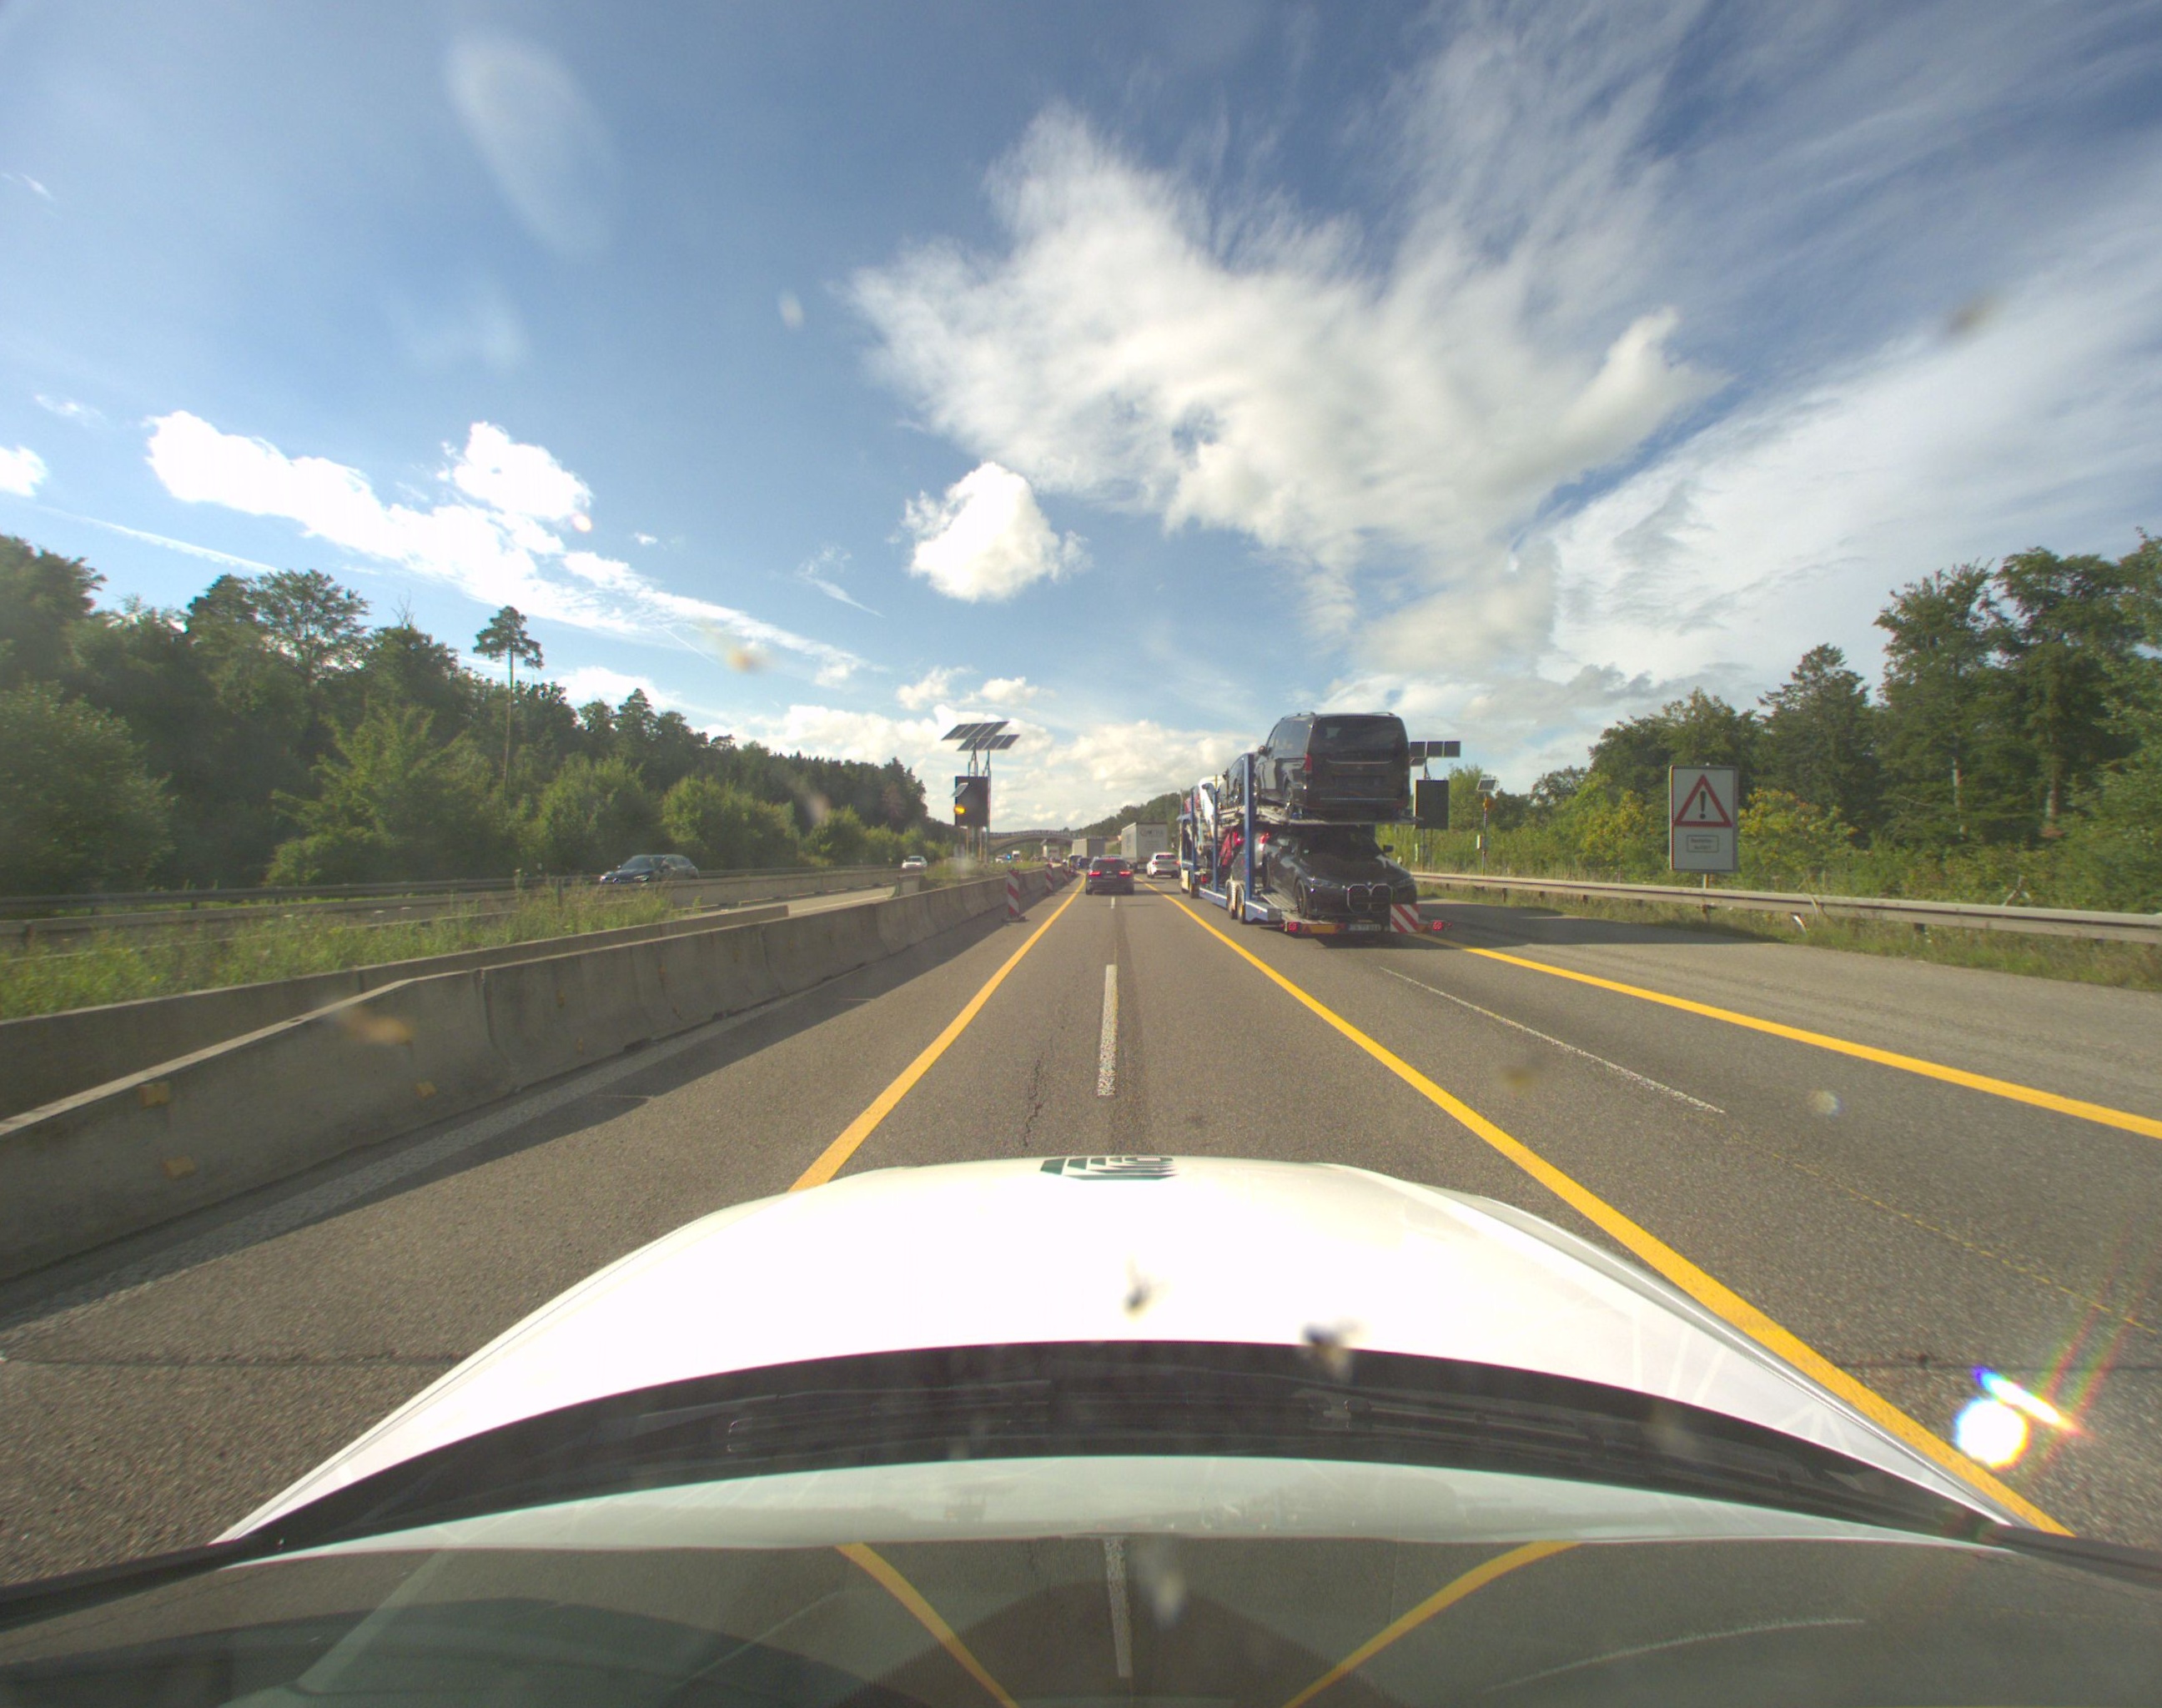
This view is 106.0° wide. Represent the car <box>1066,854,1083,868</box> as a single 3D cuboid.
[{"bbox_3d":[-0.811,0.852,102.404,1.887,1.643,4.012,0,0,-4],"label":"car"}]

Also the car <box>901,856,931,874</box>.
[{"bbox_3d":[-15.565,1.037,76.883,1.770,1.602,4.022,0,0,4],"label":"car"}]

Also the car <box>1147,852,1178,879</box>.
[{"bbox_3d":[5.225,0.709,52.725,1.882,1.643,4.022,0,0,4],"label":"car"}]

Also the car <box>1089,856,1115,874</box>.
[{"bbox_3d":[1.668,0.888,65.954,1.885,1.446,3.996,0,0,-2],"label":"car"}]

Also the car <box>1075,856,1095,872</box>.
[{"bbox_3d":[0.436,1.083,89.230,1.887,1.643,4.011,0,0,-5],"label":"car"}]

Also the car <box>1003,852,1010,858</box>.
[{"bbox_3d":[-23.415,0.451,256.701,1.775,1.866,3.998,0,0,-1],"label":"car"}]

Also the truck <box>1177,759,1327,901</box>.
[{"bbox_3d":[5.533,-0.689,28.138,3.747,4.196,7.954,0,0,2],"label":"truck"}]

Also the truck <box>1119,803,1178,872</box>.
[{"bbox_3d":[5.665,-1.271,71.899,3.666,5.353,16.195,0,0,-1],"label":"truck"}]

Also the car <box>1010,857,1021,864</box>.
[{"bbox_3d":[-15.009,1.523,187.645,1.961,1.602,4.947,0,0,1],"label":"car"}]

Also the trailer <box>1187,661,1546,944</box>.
[{"bbox_3d":[5.302,-0.726,20.241,3.712,4.196,16.234,0,0,2],"label":"trailer"}]

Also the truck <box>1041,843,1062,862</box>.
[{"bbox_3d":[-6.245,-0.238,172.858,3.650,3.928,11.042,0,0,-6],"label":"truck"}]

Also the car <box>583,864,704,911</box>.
[{"bbox_3d":[-16.180,1.177,30.401,1.951,1.588,4.485,0,0,2],"label":"car"}]

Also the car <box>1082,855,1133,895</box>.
[{"bbox_3d":[1.106,0.790,32.219,1.882,1.446,4.004,0,0,4],"label":"car"}]

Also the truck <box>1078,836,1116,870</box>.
[{"bbox_3d":[2.133,-0.115,117.234,4.313,4.600,11.104,0,0,-5],"label":"truck"}]
